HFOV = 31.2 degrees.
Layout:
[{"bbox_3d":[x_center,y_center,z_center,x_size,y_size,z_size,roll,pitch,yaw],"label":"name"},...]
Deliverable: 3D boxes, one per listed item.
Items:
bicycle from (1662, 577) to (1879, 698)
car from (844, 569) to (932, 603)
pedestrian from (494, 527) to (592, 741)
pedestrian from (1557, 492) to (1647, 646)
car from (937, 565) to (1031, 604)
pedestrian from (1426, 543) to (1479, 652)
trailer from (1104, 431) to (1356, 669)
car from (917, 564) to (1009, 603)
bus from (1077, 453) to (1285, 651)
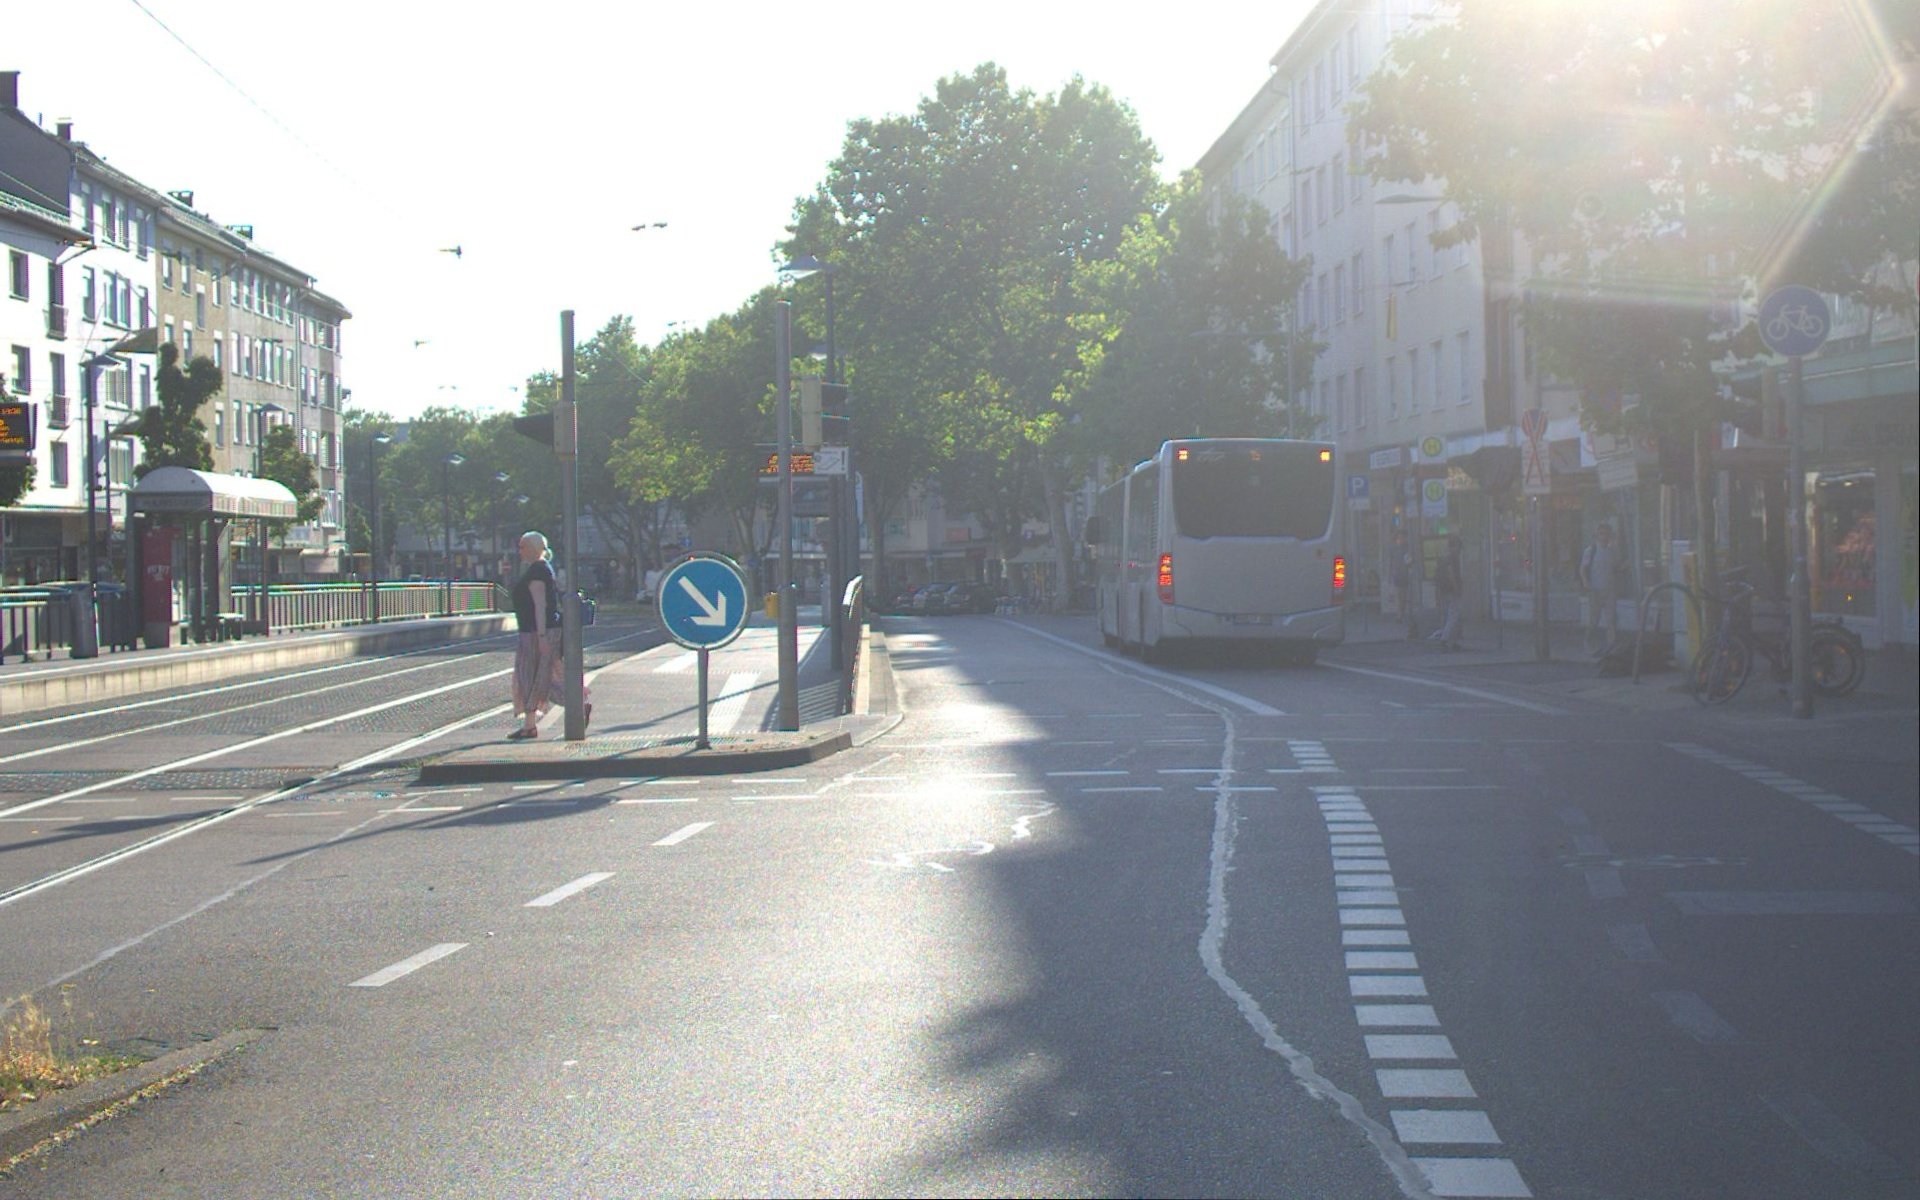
[{"bbox_3d":[7.375,0.335,31.322,1.772,1.018,0.694,-2,1,-1],"label":"bicycle"},{"bbox_3d":[-3.463,-0.691,166.386,3.889,1.591,1.691,-2,1,-29],"label":"car"},{"bbox_3d":[-3.526,0.279,29.088,0.680,1.764,0.687,-2,1,0],"label":"pedestrian"},{"bbox_3d":[8.508,-0.416,45.598,0.953,2.007,0.917,1,1,-2],"label":"pedestrian"},{"bbox_3d":[1.119,-0.714,158.718,3.889,1.693,1.833,-2,1,-29],"label":"car"},{"bbox_3d":[7.419,-0.037,51.848,0.676,1.622,0.655,1,1,0],"label":"pedestrian"},{"bbox_3d":[3.762,-0.718,50.000,2.812,3.100,8.795,1,1,-1],"label":"trailer"},{"bbox_3d":[0.138,-0.782,161.310,3.889,1.693,1.833,-2,1,-29],"label":"car"},{"bbox_3d":[3.653,-0.817,58.940,2.812,3.091,9.095,1,1,-1],"label":"bus"}]
